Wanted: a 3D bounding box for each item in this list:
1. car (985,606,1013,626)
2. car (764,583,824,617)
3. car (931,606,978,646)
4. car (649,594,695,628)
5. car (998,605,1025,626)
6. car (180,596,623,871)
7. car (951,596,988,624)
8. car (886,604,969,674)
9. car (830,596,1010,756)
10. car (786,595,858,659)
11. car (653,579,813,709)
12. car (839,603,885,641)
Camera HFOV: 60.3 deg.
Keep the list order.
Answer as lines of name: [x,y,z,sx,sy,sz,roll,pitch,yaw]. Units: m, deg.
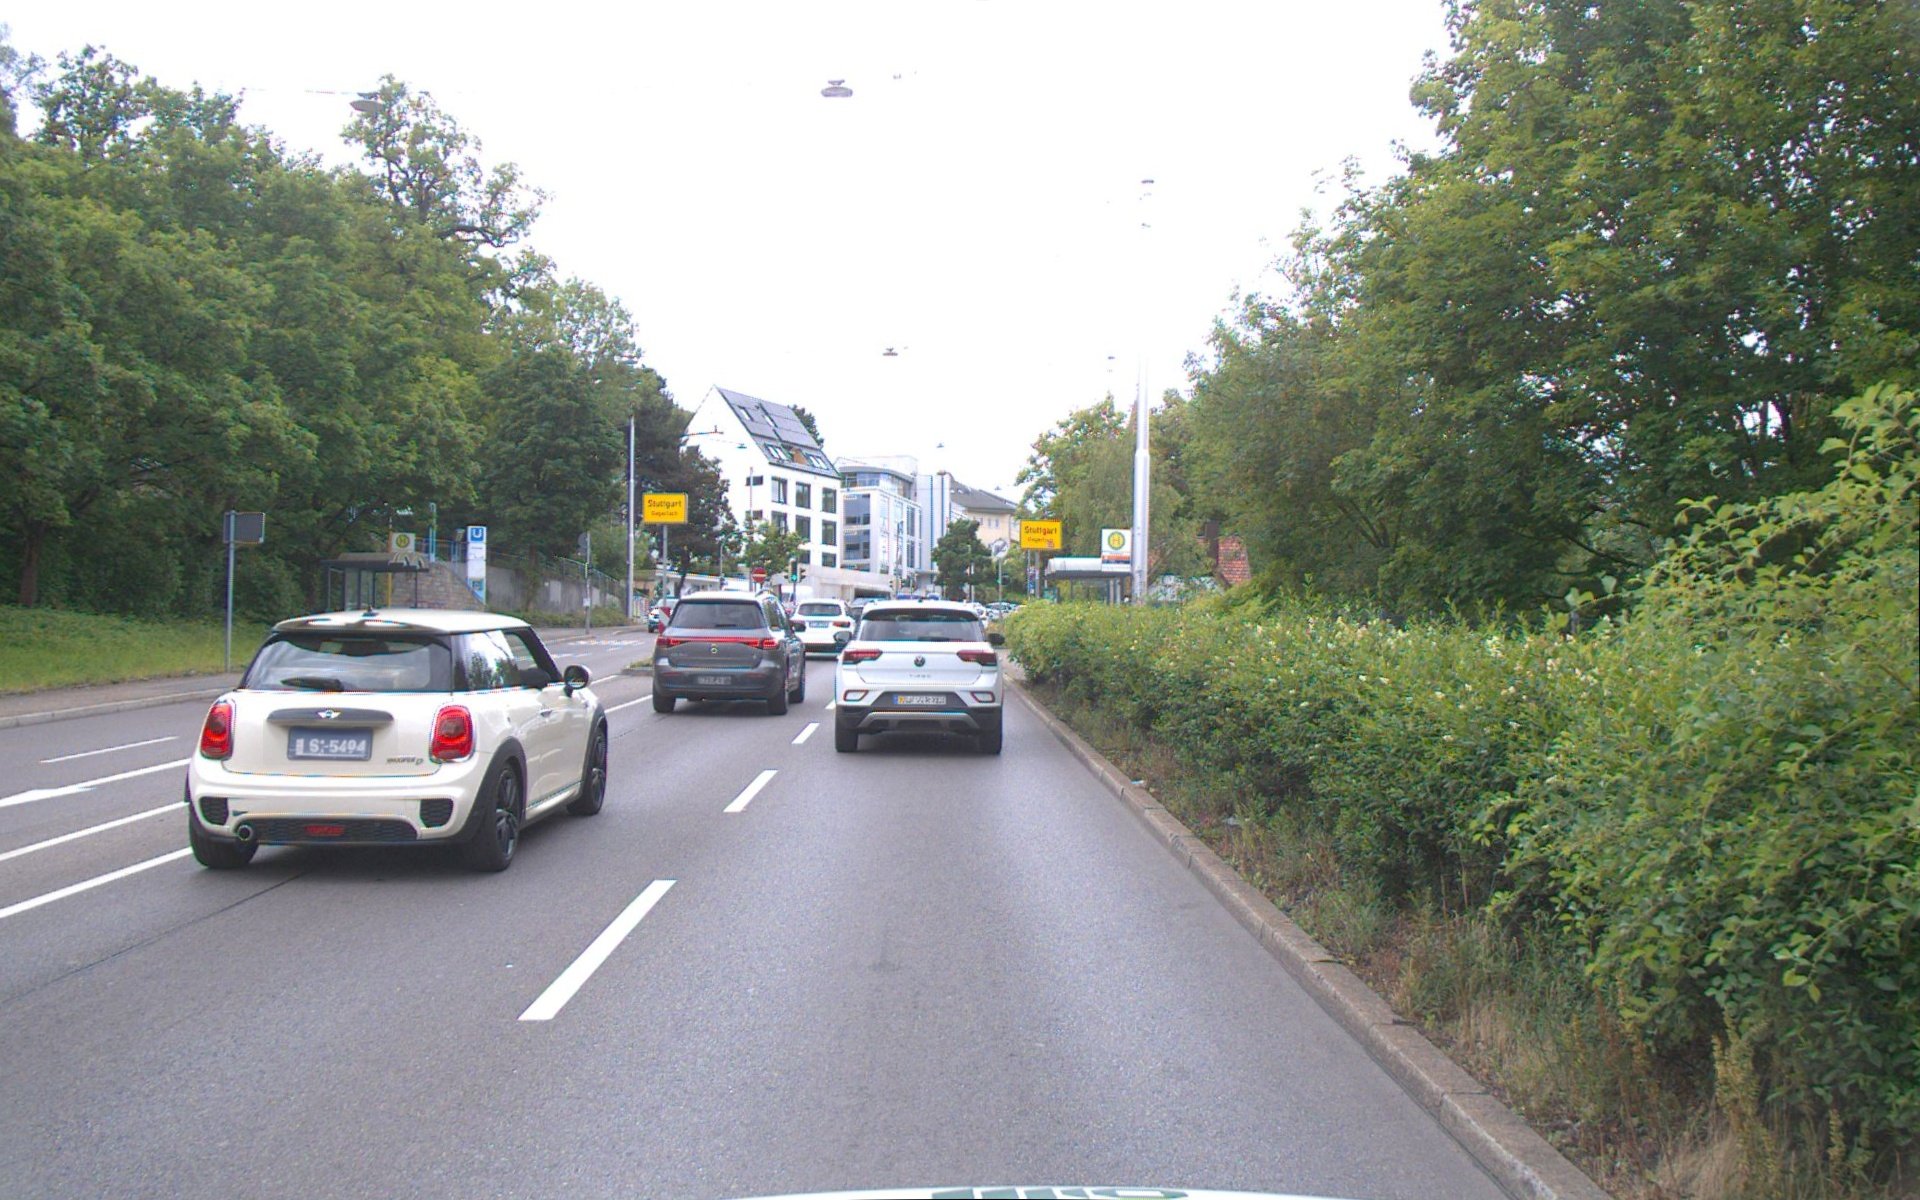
car: [3.025,1.241,128.691,1.818,1.527,4.058,0,0,6]
car: [-13.007,0.015,130.188,2.184,2.613,7.427,0,0,15]
car: [-0.255,1.064,70.048,1.835,1.527,4.554,3,0,-1]
car: [-13.632,0.513,78.425,1.695,1.568,4.040,1,0,-4]
car: [3.853,1.150,123.529,1.819,1.527,4.058,0,0,4]
car: [-3.271,0.699,10.390,1.594,1.418,3.565,0,0,-1]
car: [0.514,0.552,91.447,1.821,1.527,4.053,0,0,-3]
car: [-0.799,0.869,38.576,1.821,1.527,4.053,0,0,-3]
car: [-0.470,0.758,18.191,1.775,1.566,3.687,0,0,-3]
car: [-3.791,0.731,46.121,1.821,1.681,4.633,0,0,-3]
car: [-3.153,0.584,23.842,1.776,1.681,4.634,0,0,-2]
car: [-4.063,0.899,69.017,1.821,1.527,4.053,0,0,-3]
